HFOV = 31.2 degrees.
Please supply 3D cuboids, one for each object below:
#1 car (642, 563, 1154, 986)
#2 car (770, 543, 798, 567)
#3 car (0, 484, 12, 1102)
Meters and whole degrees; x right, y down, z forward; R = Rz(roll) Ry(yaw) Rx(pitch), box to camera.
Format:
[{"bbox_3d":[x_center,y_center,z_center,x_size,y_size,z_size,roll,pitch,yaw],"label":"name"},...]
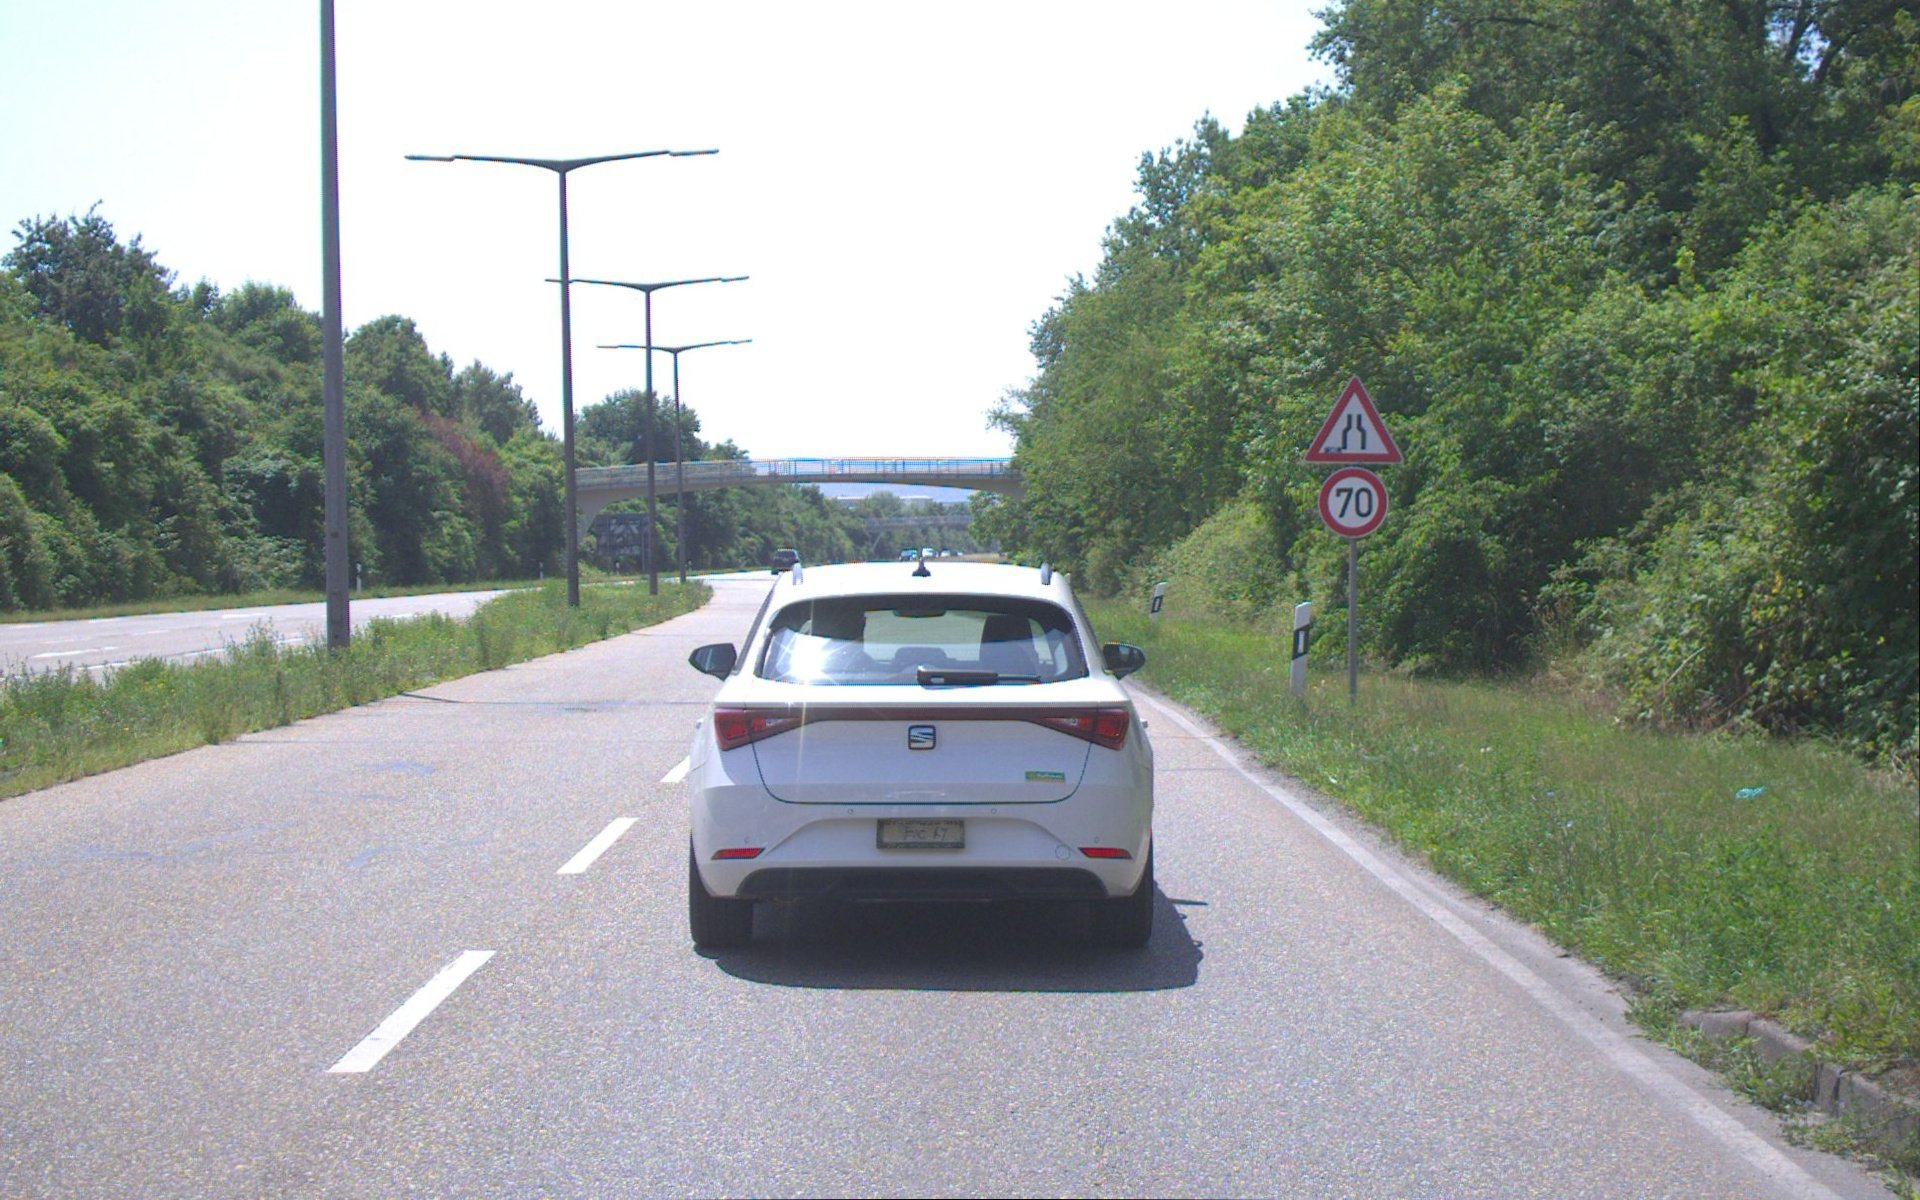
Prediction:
[{"bbox_3d":[-0.208,0.586,13.673,1.734,1.423,3.694,1,0,0],"label":"car"},{"bbox_3d":[-12.749,-3.257,248.503,1.854,1.703,4.001,-1,1,-5],"label":"car"},{"bbox_3d":[-3.488,0.557,7.007,1.804,1.656,4.644,0,1,0],"label":"car"}]
